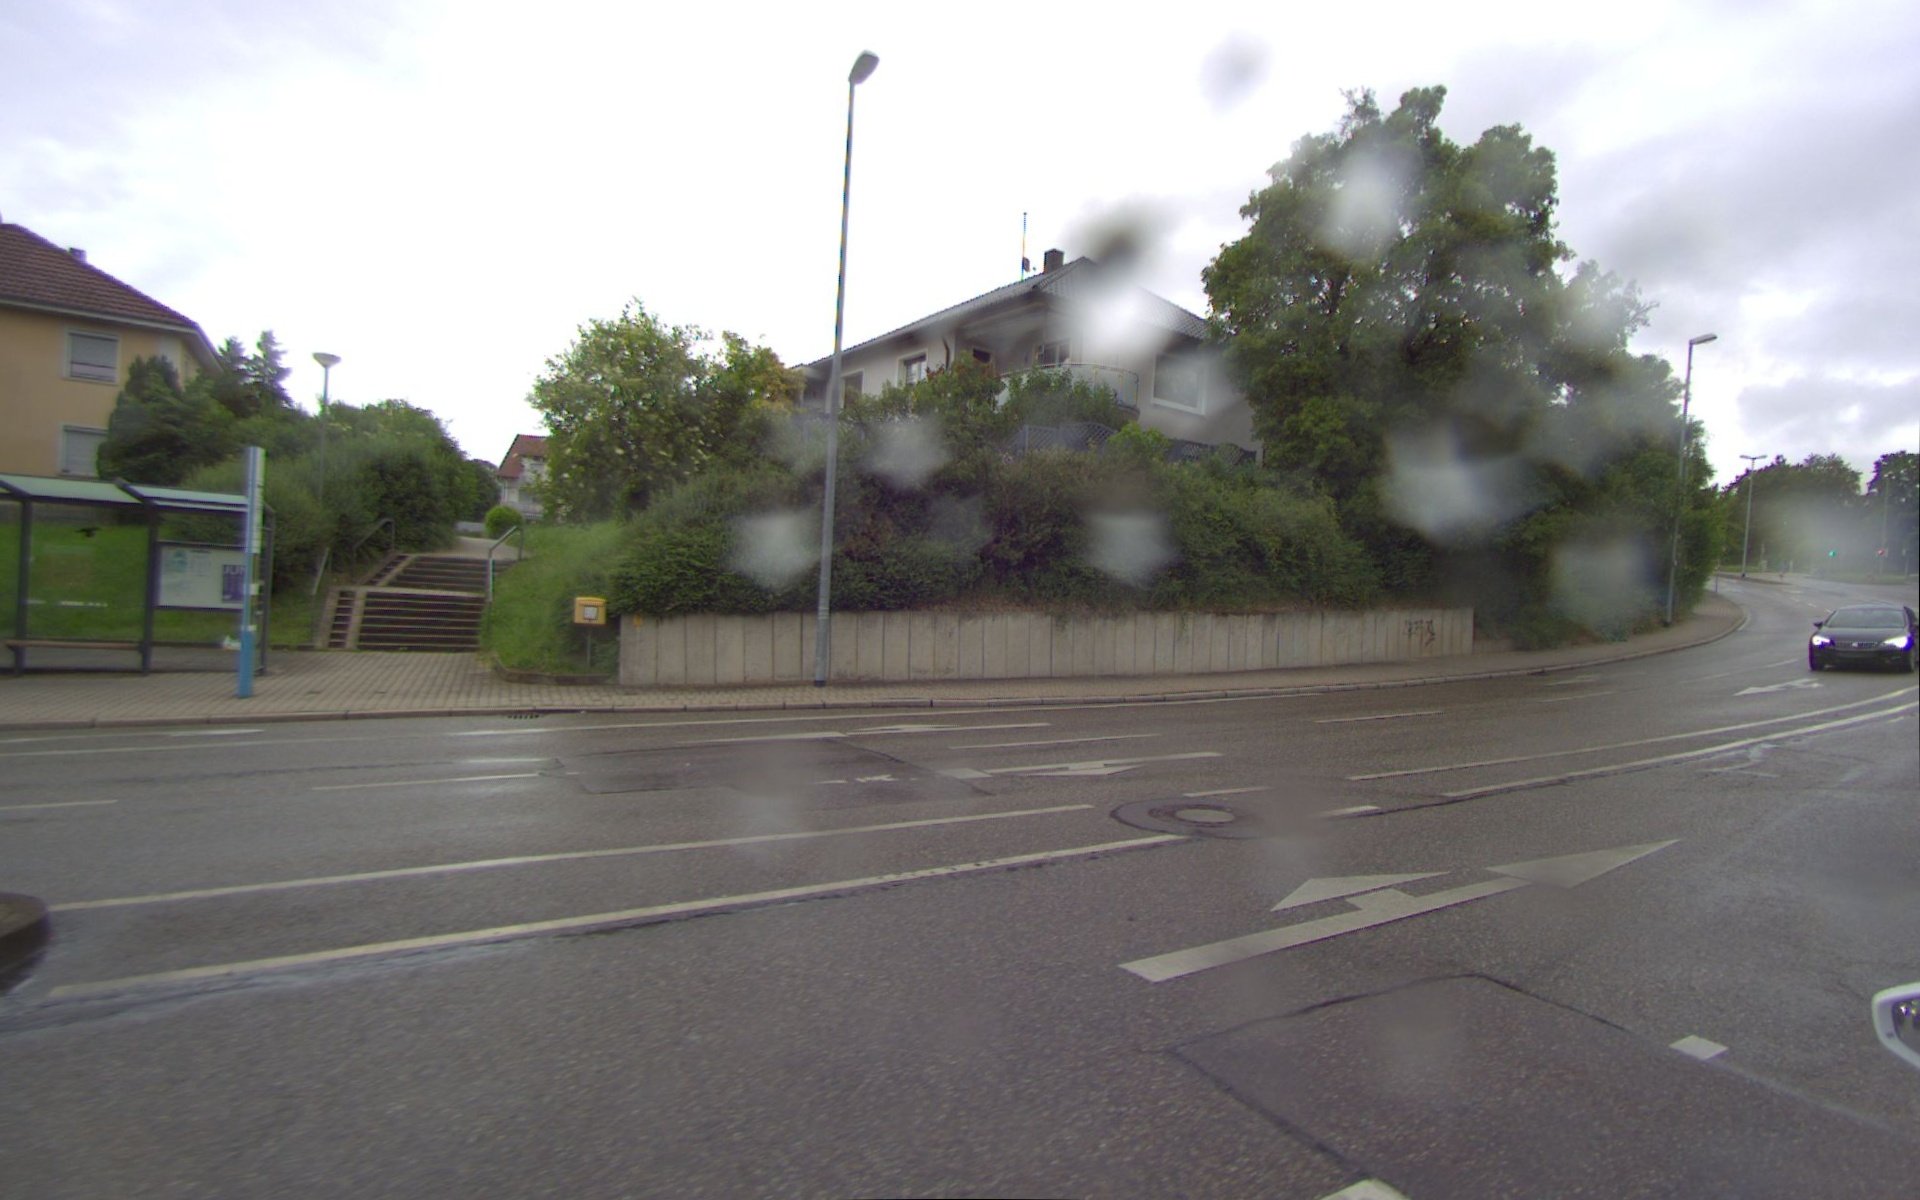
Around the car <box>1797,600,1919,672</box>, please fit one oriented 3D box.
[{"bbox_3d":[21.099,0.796,23.300,4.199,1.507,1.876,1,0,-40],"label":"car"}]
